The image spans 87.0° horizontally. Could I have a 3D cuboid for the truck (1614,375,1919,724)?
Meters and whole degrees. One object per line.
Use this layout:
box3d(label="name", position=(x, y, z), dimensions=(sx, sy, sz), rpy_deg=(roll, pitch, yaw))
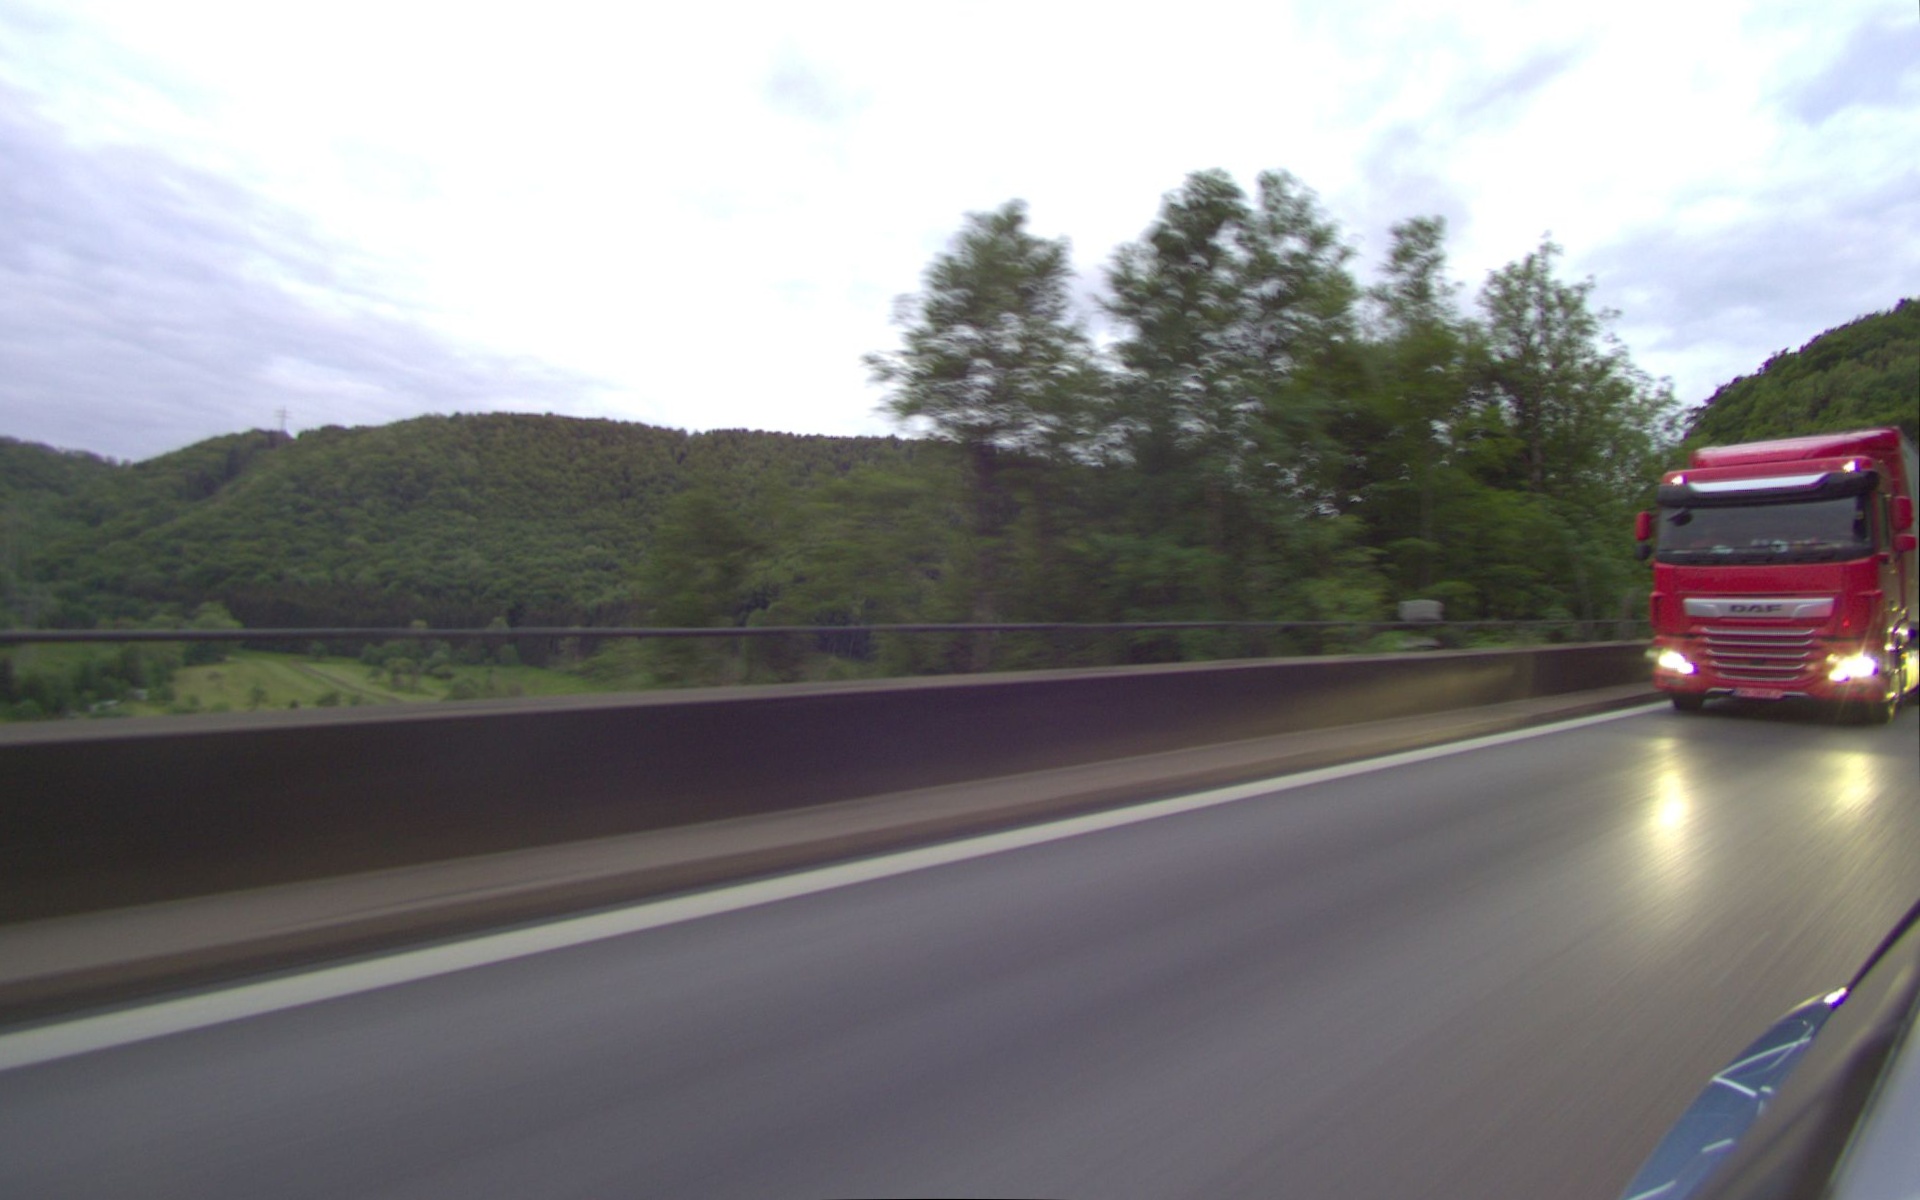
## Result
box3d(label="truck", position=(12.785, -0.619, 15.427), dimensions=(6.333, 4.197, 3.075), rpy_deg=(0, 0, -41))

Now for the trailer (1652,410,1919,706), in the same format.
box3d(label="trailer", position=(17.285, -0.502, 19.568), dimensions=(13.969, 4.021, 3.102), rpy_deg=(1, -1, -41))
